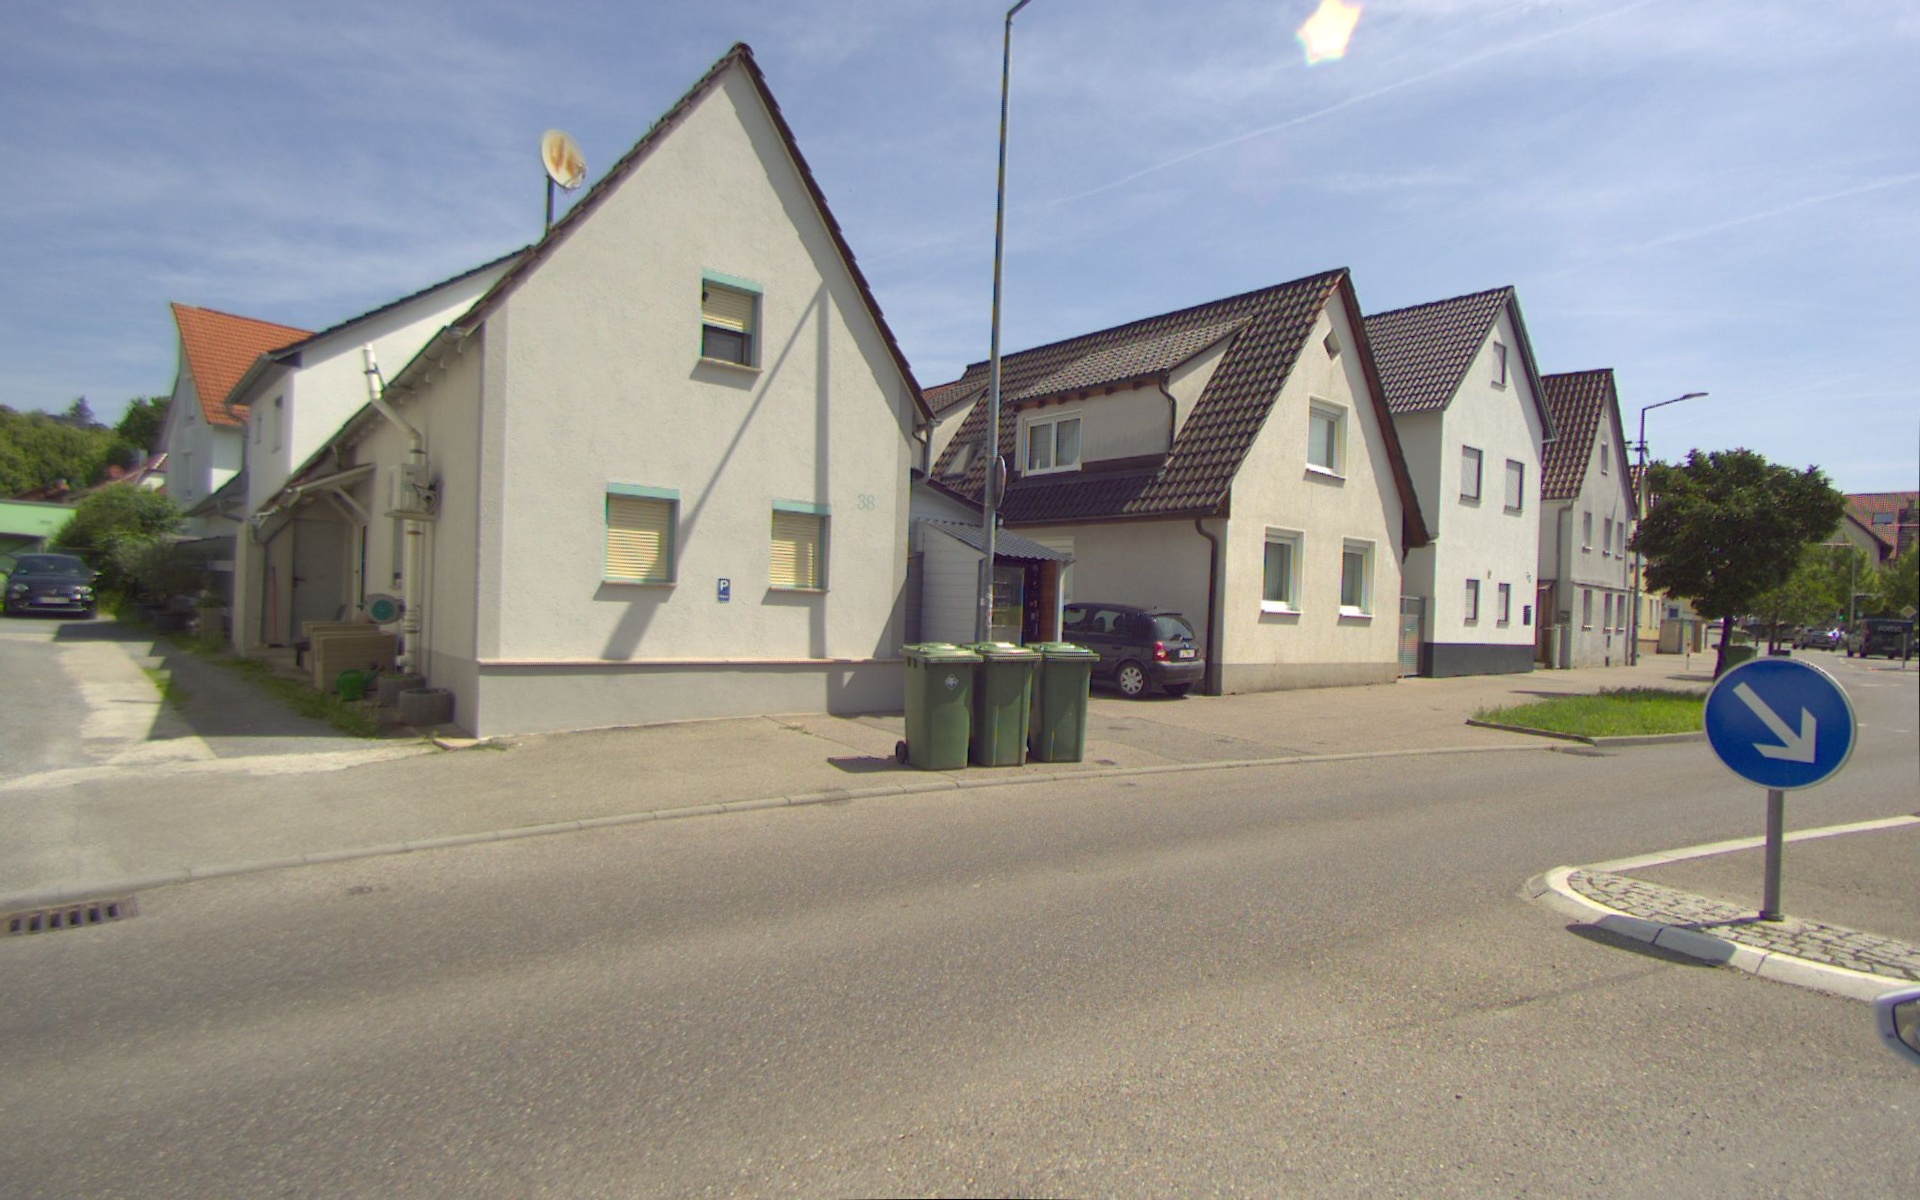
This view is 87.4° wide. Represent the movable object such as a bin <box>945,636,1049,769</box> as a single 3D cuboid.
[{"bbox_3d":[0.326,0.905,9.156,0.625,1.091,0.726,1,2,-30],"label":"movable object such as a bin"}]

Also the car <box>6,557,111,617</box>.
[{"bbox_3d":[-21.798,-0.308,24.325,1.759,1.315,3.987,2,0,-42],"label":"car"}]

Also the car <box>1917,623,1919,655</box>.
[{"bbox_3d":[53.542,2.142,53.506,3.933,1.691,1.867,2,0,-14],"label":"car"}]

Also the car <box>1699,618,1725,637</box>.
[{"bbox_3d":[85.775,3.115,114.591,2.082,2.040,3.988,2,0,34],"label":"car"}]

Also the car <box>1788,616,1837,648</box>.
[{"bbox_3d":[57.779,2.137,68.173,2.082,2.040,3.988,2,0,34],"label":"car"}]

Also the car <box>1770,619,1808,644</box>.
[{"bbox_3d":[70.646,2.687,85.694,2.082,2.040,3.988,2,0,34],"label":"car"}]

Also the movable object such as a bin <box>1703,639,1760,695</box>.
[{"bbox_3d":[15.596,1.338,20.305,0.890,1.062,0.576,0,-1,40],"label":"movable object such as a bin"}]

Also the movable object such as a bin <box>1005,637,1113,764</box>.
[{"bbox_3d":[0.931,0.919,9.504,0.717,1.091,0.677,1,2,-30],"label":"movable object such as a bin"}]

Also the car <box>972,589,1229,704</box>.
[{"bbox_3d":[2.246,0.686,16.587,3.789,1.460,1.770,5,2,40],"label":"car"}]

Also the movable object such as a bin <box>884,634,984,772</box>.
[{"bbox_3d":[-0.234,0.878,8.844,0.624,1.107,0.638,1,2,-30],"label":"movable object such as a bin"}]

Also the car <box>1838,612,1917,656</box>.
[{"bbox_3d":[46.185,1.694,50.658,2.080,2.040,3.992,2,0,30],"label":"car"}]

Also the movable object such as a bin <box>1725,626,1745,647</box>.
[{"bbox_3d":[39.497,1.843,51.200,0.687,1.066,0.674,1,0,30],"label":"movable object such as a bin"}]
